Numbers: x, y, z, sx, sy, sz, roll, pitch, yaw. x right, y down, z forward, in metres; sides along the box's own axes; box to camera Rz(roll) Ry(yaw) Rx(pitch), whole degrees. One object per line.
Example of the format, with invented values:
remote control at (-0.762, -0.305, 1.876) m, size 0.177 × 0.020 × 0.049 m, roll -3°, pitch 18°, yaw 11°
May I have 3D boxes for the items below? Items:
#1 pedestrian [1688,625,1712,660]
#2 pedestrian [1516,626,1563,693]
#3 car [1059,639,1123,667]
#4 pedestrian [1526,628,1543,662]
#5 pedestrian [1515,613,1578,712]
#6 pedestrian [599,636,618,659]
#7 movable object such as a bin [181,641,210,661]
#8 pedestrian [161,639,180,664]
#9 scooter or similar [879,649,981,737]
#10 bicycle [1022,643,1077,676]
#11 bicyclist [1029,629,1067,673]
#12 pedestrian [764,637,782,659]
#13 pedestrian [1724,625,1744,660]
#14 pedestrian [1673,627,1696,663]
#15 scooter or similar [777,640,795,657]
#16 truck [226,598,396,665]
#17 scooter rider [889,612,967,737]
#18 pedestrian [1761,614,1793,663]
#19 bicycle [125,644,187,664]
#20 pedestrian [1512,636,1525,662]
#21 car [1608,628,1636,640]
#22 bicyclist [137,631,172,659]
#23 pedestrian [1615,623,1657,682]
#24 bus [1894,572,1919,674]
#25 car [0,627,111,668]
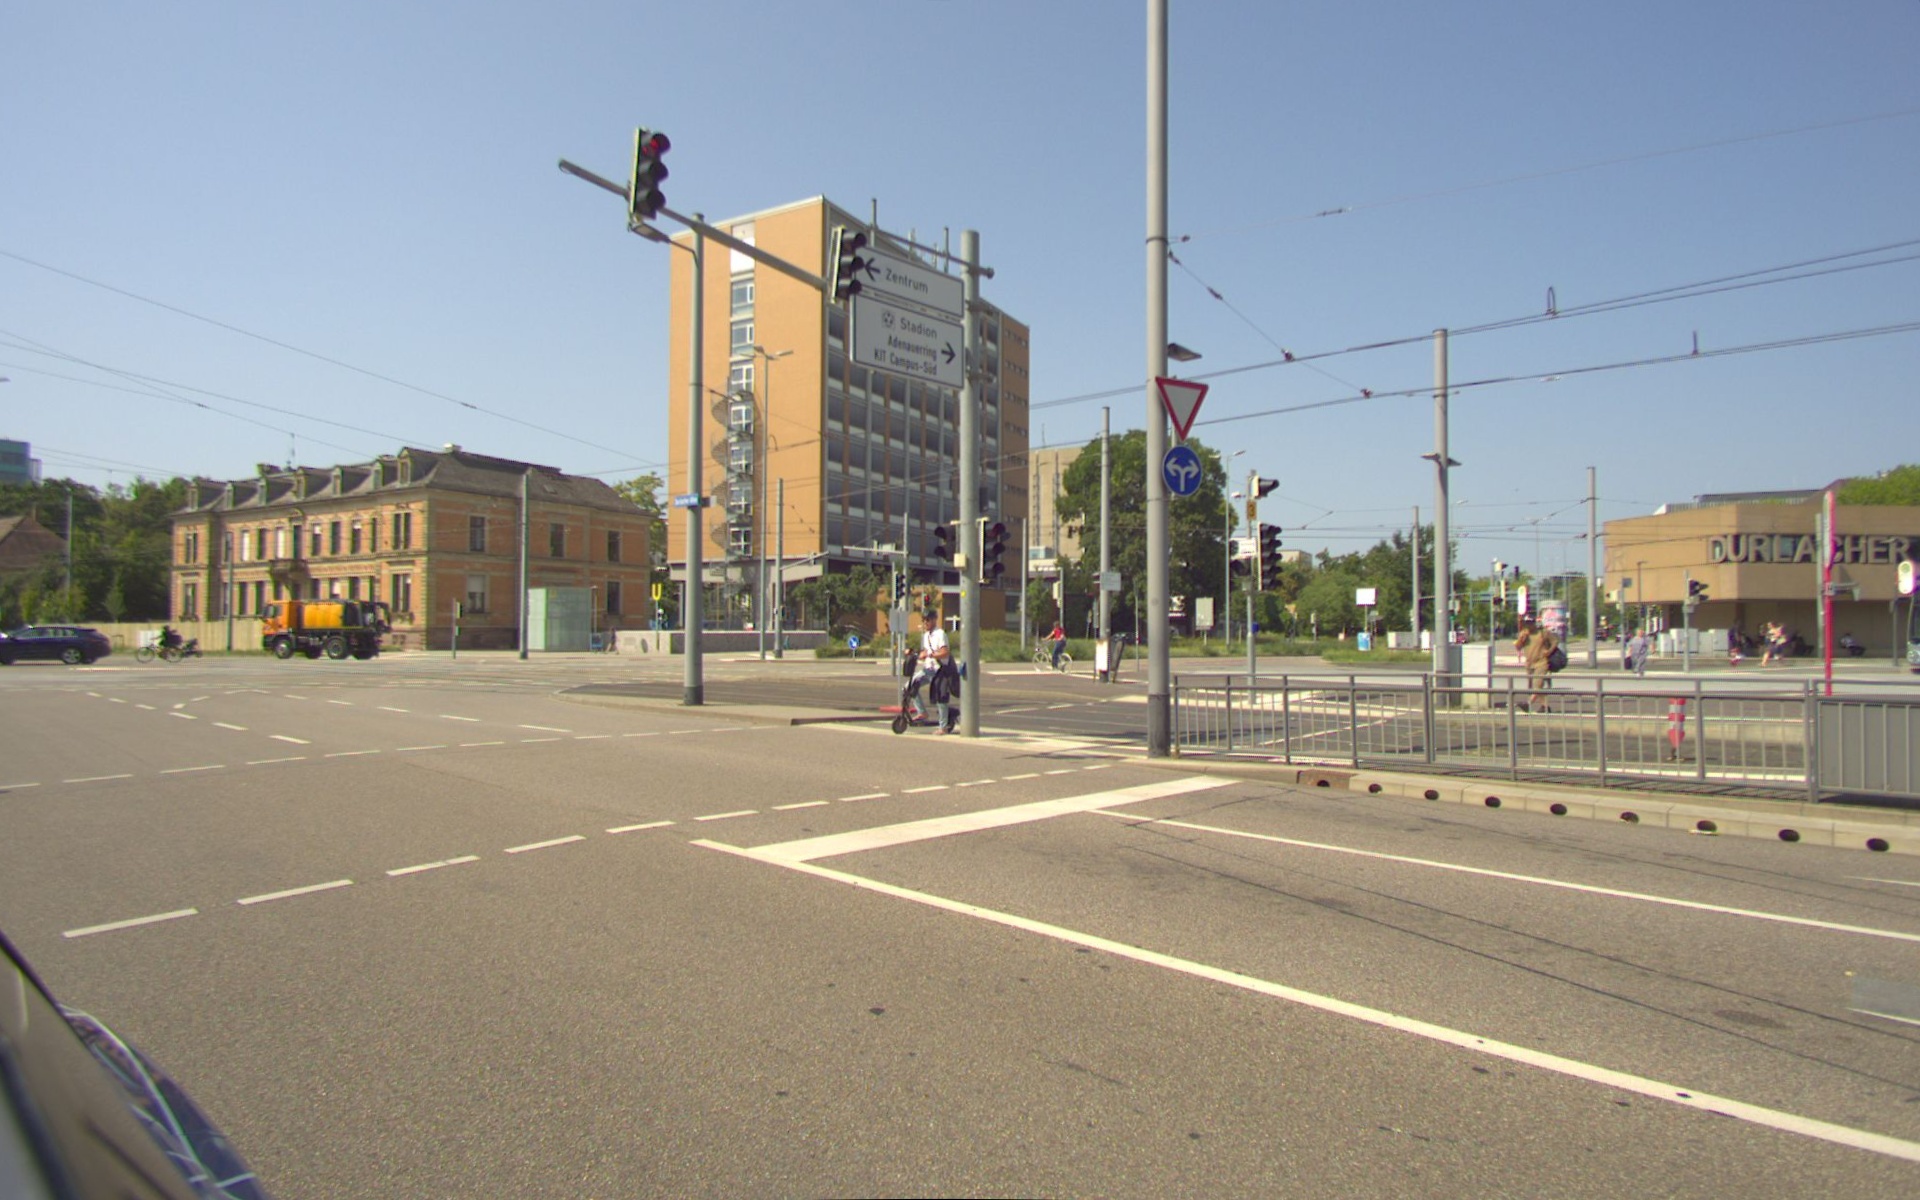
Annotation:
pedestrian at (35.754, 2.052, 48.907) m, size 0.579 × 1.689 × 0.578 m, roll -1°, pitch -3°, yaw -2°
pedestrian at (16.151, 1.643, 28.201) m, size 0.960 × 1.793 × 0.774 m, roll -1°, pitch -2°, yaw 45°
car at (9.084, 3.692, 70.108) m, size 3.931 × 1.807 × 2.006 m, roll 0°, pitch -4°, yaw -29°
pedestrian at (30.676, 2.412, 54.039) m, size 0.552 × 1.830 × 0.561 m, roll 0°, pitch -2°, yaw -2°
pedestrian at (10.214, 1.092, 17.647) m, size 0.796 × 1.672 × 0.569 m, roll -3°, pitch -3°, yaw 24°
pedestrian at (-21.714, 2.956, 62.514) m, size 0.787 × 1.405 × 0.836 m, roll -2°, pitch -3°, yaw 44°
movable object such as a bin at (-42.895, 2.878, 56.761) m, size 1.022 × 1.093 × 0.821 m, roll -1°, pitch -3°, yaw -6°
pedestrian at (-43.929, 2.858, 56.321) m, size 0.803 × 1.362 × 0.721 m, roll 2°, pitch -3°, yaw -40°
scooter or similar at (-0.406, 1.284, 14.191) m, size 0.709 × 1.157 × 1.324 m, roll -2°, pitch -4°, yaw 40°
bicycle at (3.042, 2.026, 34.529) m, size 0.605 × 1.077 × 1.914 m, roll 2°, pitch -3°, yaw -44°
bicyclist at (3.013, 1.744, 34.534) m, size 0.864 × 1.470 × 0.981 m, roll 2°, pitch -3°, yaw -44°
pedestrian at (-12.040, 3.080, 65.061) m, size 0.787 × 1.405 × 0.836 m, roll -2°, pitch -3°, yaw 44°
pedestrian at (36.447, 2.007, 47.659) m, size 0.571 × 1.658 × 0.504 m, roll -5°, pitch -5°, yaw 45°
pedestrian at (34.994, 2.172, 48.895) m, size 0.579 × 1.689 × 0.578 m, roll -1°, pitch -3°, yaw -2°
scooter or similar at (-12.048, 3.359, 70.184) m, size 1.126 × 1.166 × 0.444 m, roll 1°, pitch -3°, yaw -34°
truck at (-34.013, 1.698, 53.241) m, size 7.095 × 3.254 × 3.039 m, roll -2°, pitch -3°, yaw 3°
scooter rider at (-0.449, 1.029, 14.190) m, size 0.778 × 1.686 × 0.764 m, roll -2°, pitch -3°, yaw 38°
pedestrian at (30.330, 1.411, 37.581) m, size 0.944 × 1.793 × 0.786 m, roll 2°, pitch -2°, yaw -42°
bicycle at (-36.973, 2.472, 46.589) m, size 2.132 × 0.906 × 0.644 m, roll 1°, pitch -2°, yaw -25°
pedestrian at (29.902, 2.643, 54.213) m, size 0.455 × 1.385 × 0.350 m, roll 0°, pitch -2°, yaw -2°
car at (93.446, 4.816, 142.785) m, size 4.581 × 1.665 × 1.907 m, roll 2°, pitch -3°, yaw -38°
bicyclist at (-37.044, 2.052, 46.538) m, size 1.087 × 1.276 × 0.860 m, roll 1°, pitch -2°, yaw -27°
pedestrian at (21.253, 1.641, 31.813) m, size 0.960 × 1.793 × 0.774 m, roll -1°, pitch -2°, yaw 45°
bus at (37.885, 0.695, 33.080) m, size 12.568 × 3.356 × 2.679 m, roll 0°, pitch -2°, yaw -3°
car at (-38.375, 1.961, 41.849) m, size 4.618 × 1.653 × 2.006 m, roll 1°, pitch -3°, yaw -26°
